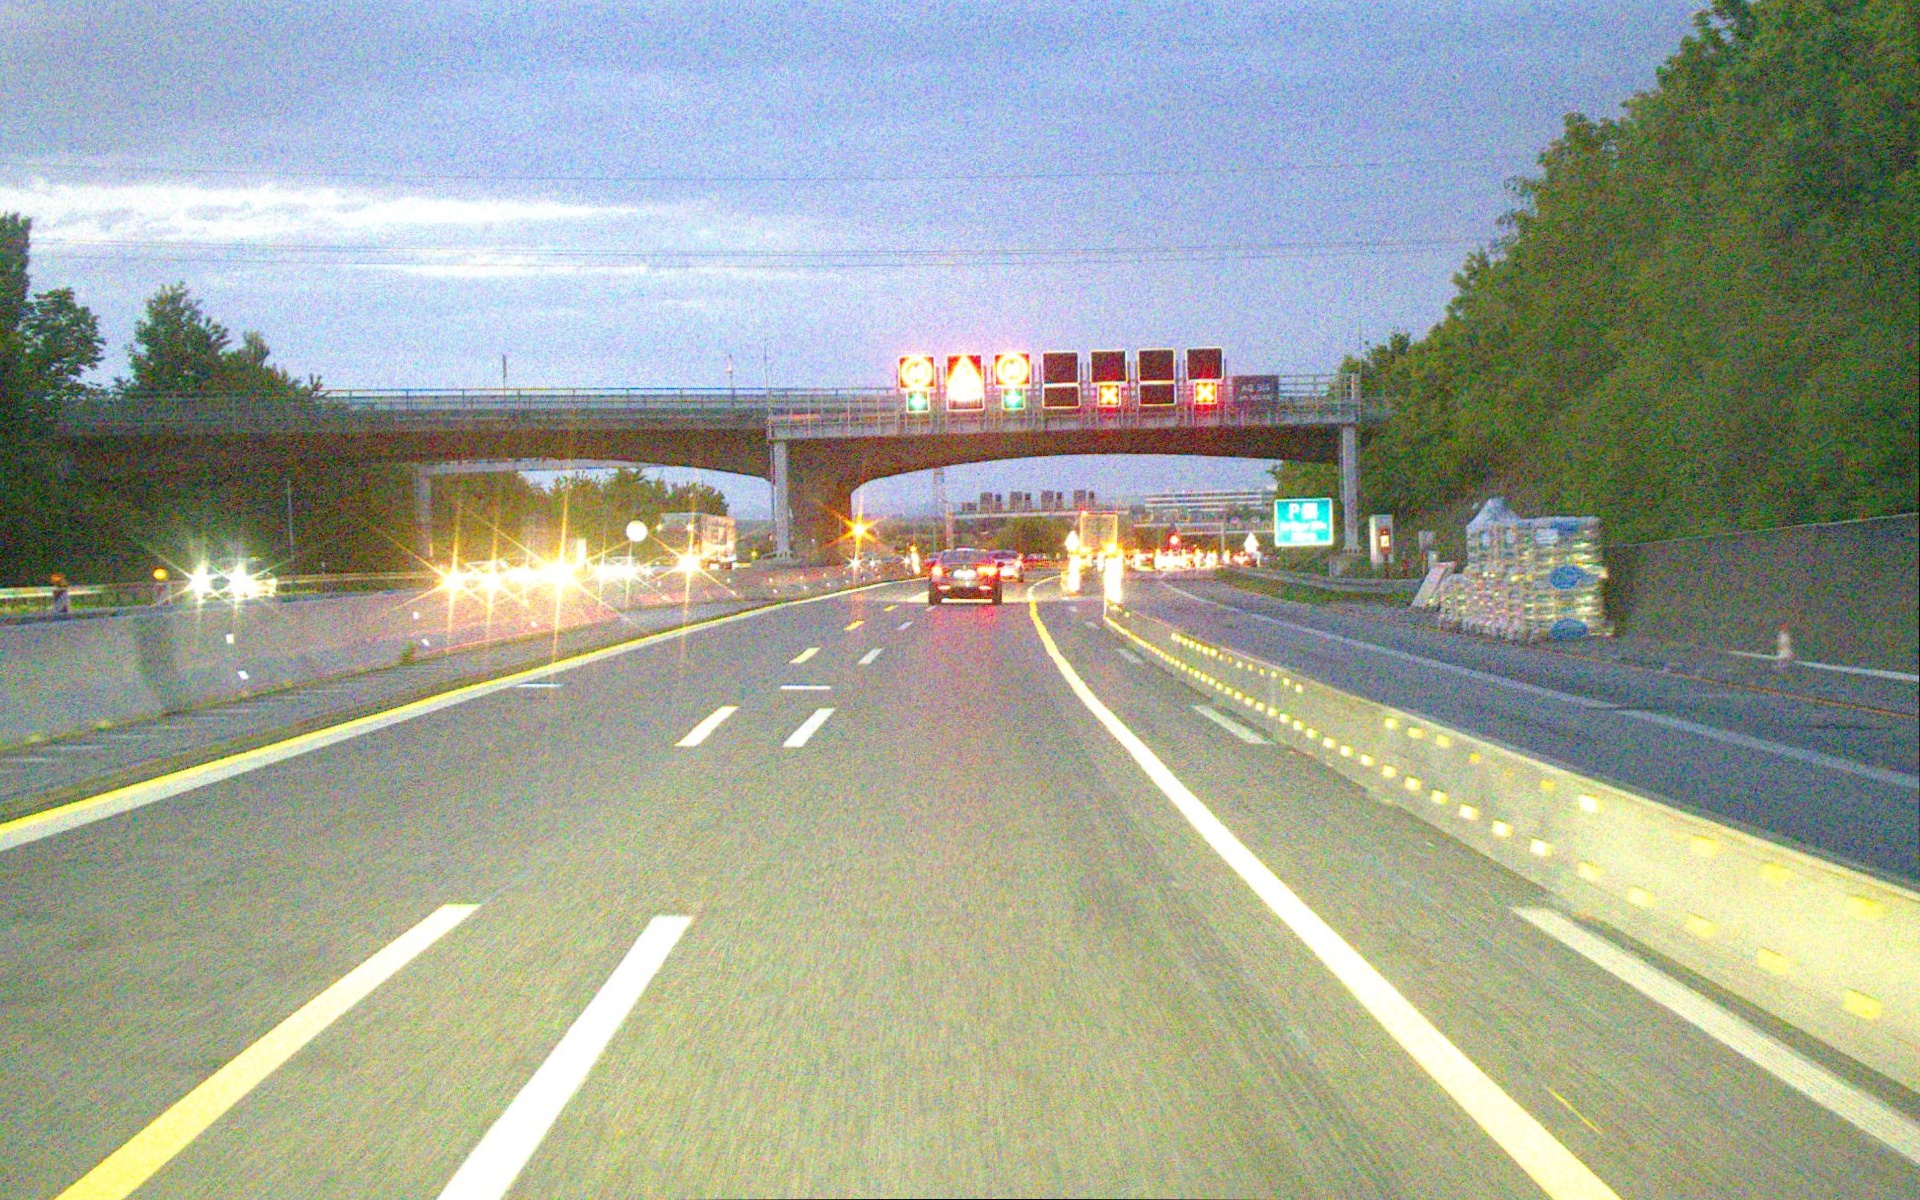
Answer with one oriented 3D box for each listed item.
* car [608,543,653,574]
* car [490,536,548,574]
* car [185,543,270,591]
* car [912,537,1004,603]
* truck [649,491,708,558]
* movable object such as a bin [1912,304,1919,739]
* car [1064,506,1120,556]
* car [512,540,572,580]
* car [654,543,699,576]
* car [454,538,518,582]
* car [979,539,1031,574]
[{"bbox_3d":[-17.335,-2.178,181.157,1.591,1.598,5.033,1,1,3],"label":"car"},{"bbox_3d":[-19.861,-2.039,155.013,1.736,1.632,5.170,1,1,2],"label":"car"},{"bbox_3d":[-25.611,-1.169,120.289,1.804,1.632,4.751,1,1,2],"label":"car"},{"bbox_3d":[-0.077,-0.772,88.393,2.265,1.616,4.000,1,1,-1],"label":"car"},{"bbox_3d":[-17.939,-4.767,219.496,2.777,4.157,6.385,1,1,4],"label":"truck"},{"bbox_3d":[8.188,-0.537,21.721,2.620,3.097,5.806,-1,1,-1],"label":"movable object such as a bin"},{"bbox_3d":[9.133,-4.762,238.464,3.605,3.384,8.014,1,1,1],"label":"car"},{"bbox_3d":[-17.956,-1.720,147.825,1.804,1.632,4.751,1,1,2],"label":"car"},{"bbox_3d":[-14.669,-2.104,178.069,1.737,1.632,4.891,1,1,2],"label":"car"},{"bbox_3d":[-18.429,-1.560,133.777,1.679,1.632,4.751,1,1,2],"label":"car"},{"bbox_3d":[1.950,-1.879,149.089,1.972,1.432,3.999,1,1,5],"label":"car"}]
